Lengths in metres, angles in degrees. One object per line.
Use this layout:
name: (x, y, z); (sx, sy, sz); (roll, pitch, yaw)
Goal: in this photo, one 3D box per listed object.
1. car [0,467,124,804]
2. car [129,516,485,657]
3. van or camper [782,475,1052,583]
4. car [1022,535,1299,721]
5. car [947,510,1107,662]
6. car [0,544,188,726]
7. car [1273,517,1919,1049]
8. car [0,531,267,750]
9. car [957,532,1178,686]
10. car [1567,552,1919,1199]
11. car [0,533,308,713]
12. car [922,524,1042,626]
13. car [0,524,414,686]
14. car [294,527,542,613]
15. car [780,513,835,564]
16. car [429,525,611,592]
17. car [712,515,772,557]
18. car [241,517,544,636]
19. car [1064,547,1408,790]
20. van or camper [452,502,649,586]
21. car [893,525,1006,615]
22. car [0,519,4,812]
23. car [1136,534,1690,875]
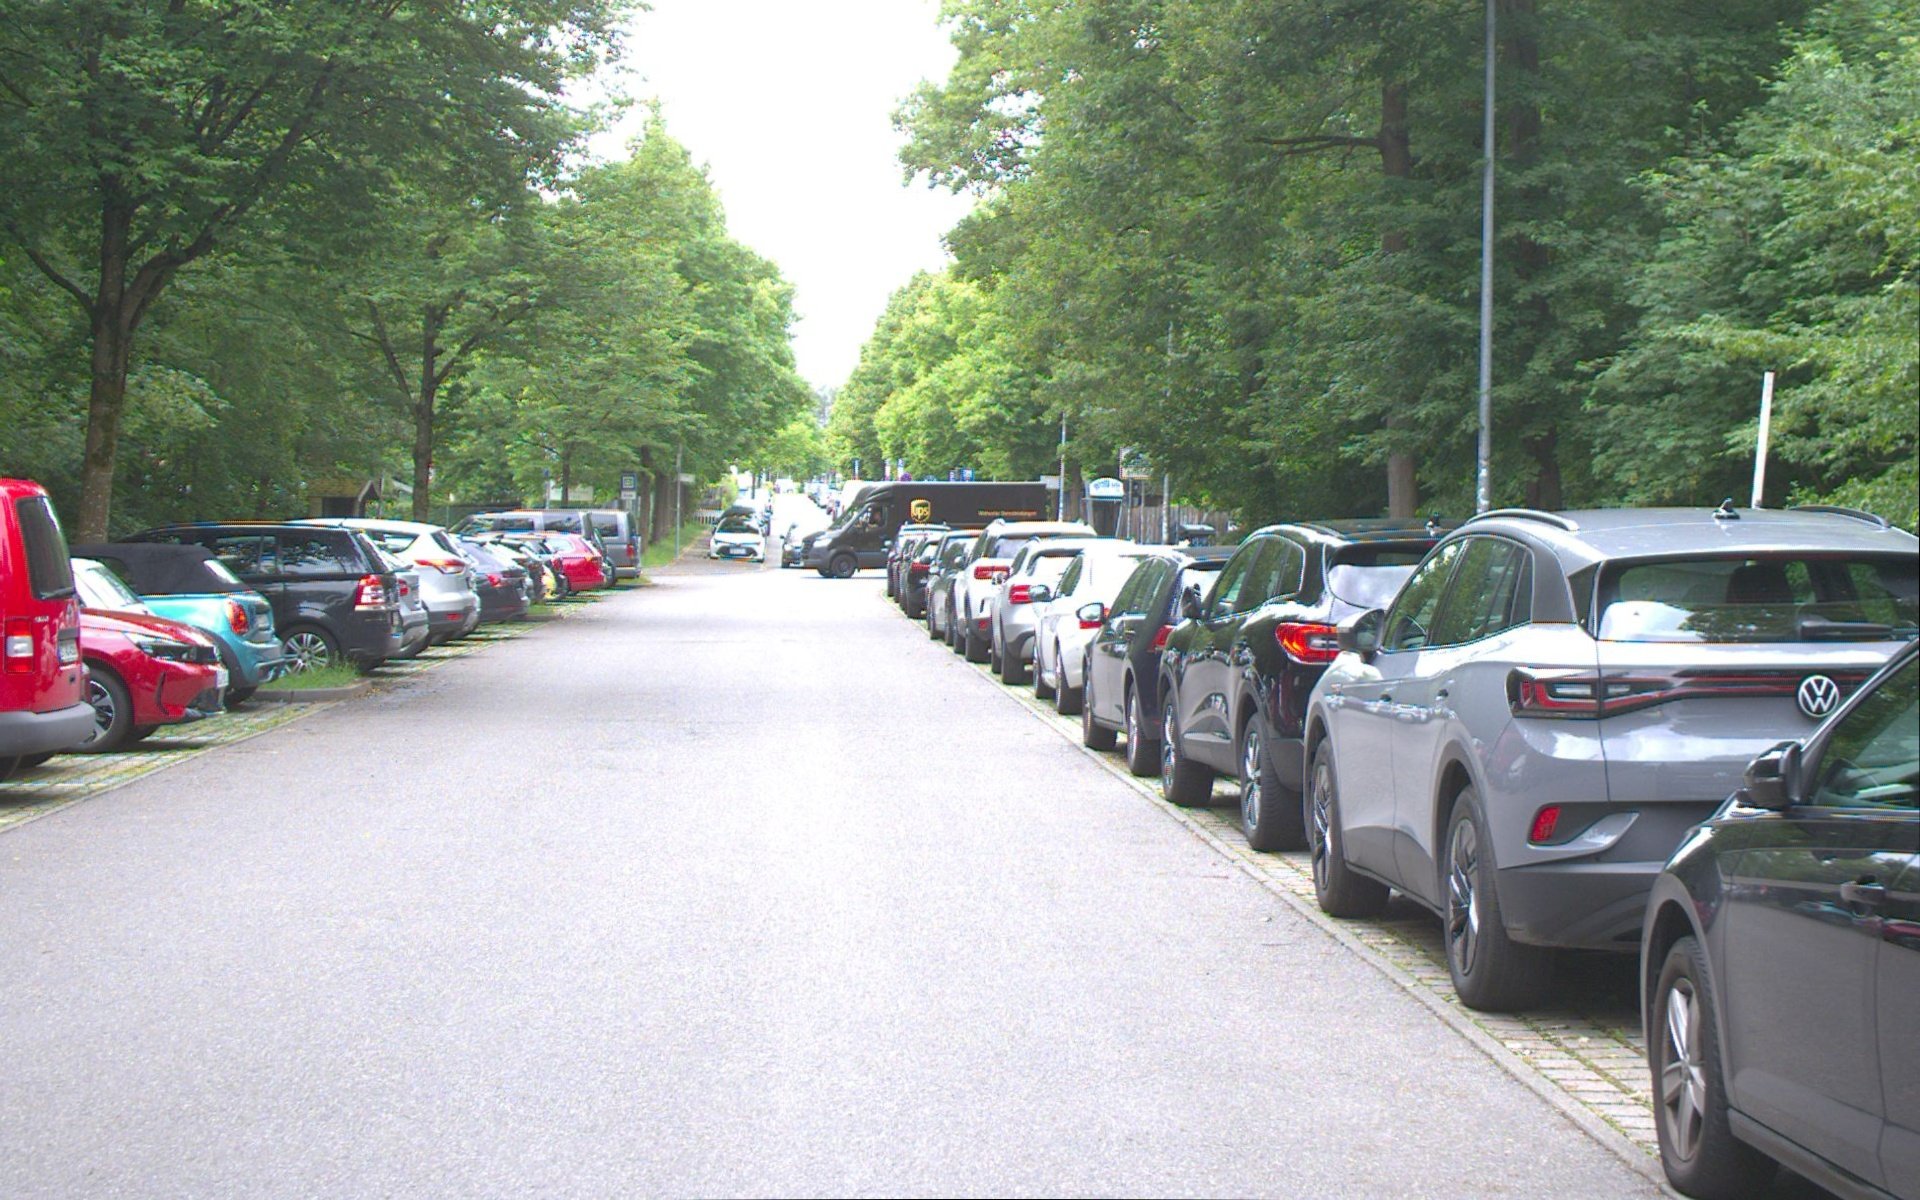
car: (-6.930, 0.157, 19.442); (3.986, 1.810, 2.115); (0, 1, -4)
car: (-7.844, -0.182, 41.544); (3.987, 1.634, 1.735); (0, 1, -1)
van or camper: (-1.256, -2.056, 99.608); (7.321, 2.879, 2.651); (1, 4, -16)
car: (1.666, 0.190, 29.948); (1.937, 1.470, 3.993); (1, 1, -3)
car: (0.763, -0.210, 41.612); (1.710, 1.722, 4.001); (1, 1, -2)
car: (-8.172, 0.240, 27.093); (3.746, 1.364, 1.936); (0, 1, -1)
car: (2.421, 0.484, 12.298); (1.978, 1.532, 4.622); (1, 1, -2)
car: (-7.087, 0.246, 24.292); (3.986, 1.469, 2.115); (0, 1, -1)
car: (1.064, 0.054, 35.808); (1.721, 1.489, 3.775); (1, 1, -7)
car: (2.456, 0.673, 6.447); (1.636, 1.472, 4.152); (1, 1, -4)
car: (-7.736, 0.168, 29.374); (3.987, 1.469, 1.847); (0, 1, -1)
car: (0.306, -0.414, 53.844); (1.710, 1.504, 4.001); (1, 1, -2)
car: (-7.489, 0.028, 34.220); (3.832, 1.531, 1.871); (0, 1, -1)
car: (-8.989, -0.503, 57.122); (3.986, 1.377, 2.001); (0, 1, -9)
car: (-4.872, -1.974, 109.395); (1.690, 1.410, 3.154); (2, 4, -3)
car: (-9.190, -0.875, 71.682); (3.576, 1.356, 1.829); (0, 1, -14)
car: (-7.170, -2.127, 113.092); (1.739, 1.158, 3.411); (2, 4, 0)
car: (-8.038, -0.349, 48.963); (3.987, 1.634, 2.009); (0, 1, -1)
car: (1.755, 0.392, 22.990); (1.666, 1.439, 3.815); (1, 1, -5)
van or camper: (-9.977, -1.372, 83.722); (4.472, 1.861, 1.920); (1, 4, -16)
car: (-0.224, -0.557, 61.053); (1.921, 1.515, 3.887); (1, 1, -1)
car: (-6.951, 0.346, 16.897); (3.986, 1.525, 2.000); (0, 1, -2)
car: (2.202, 0.449, 17.933); (1.978, 1.532, 4.167); (1, 1, -5)
